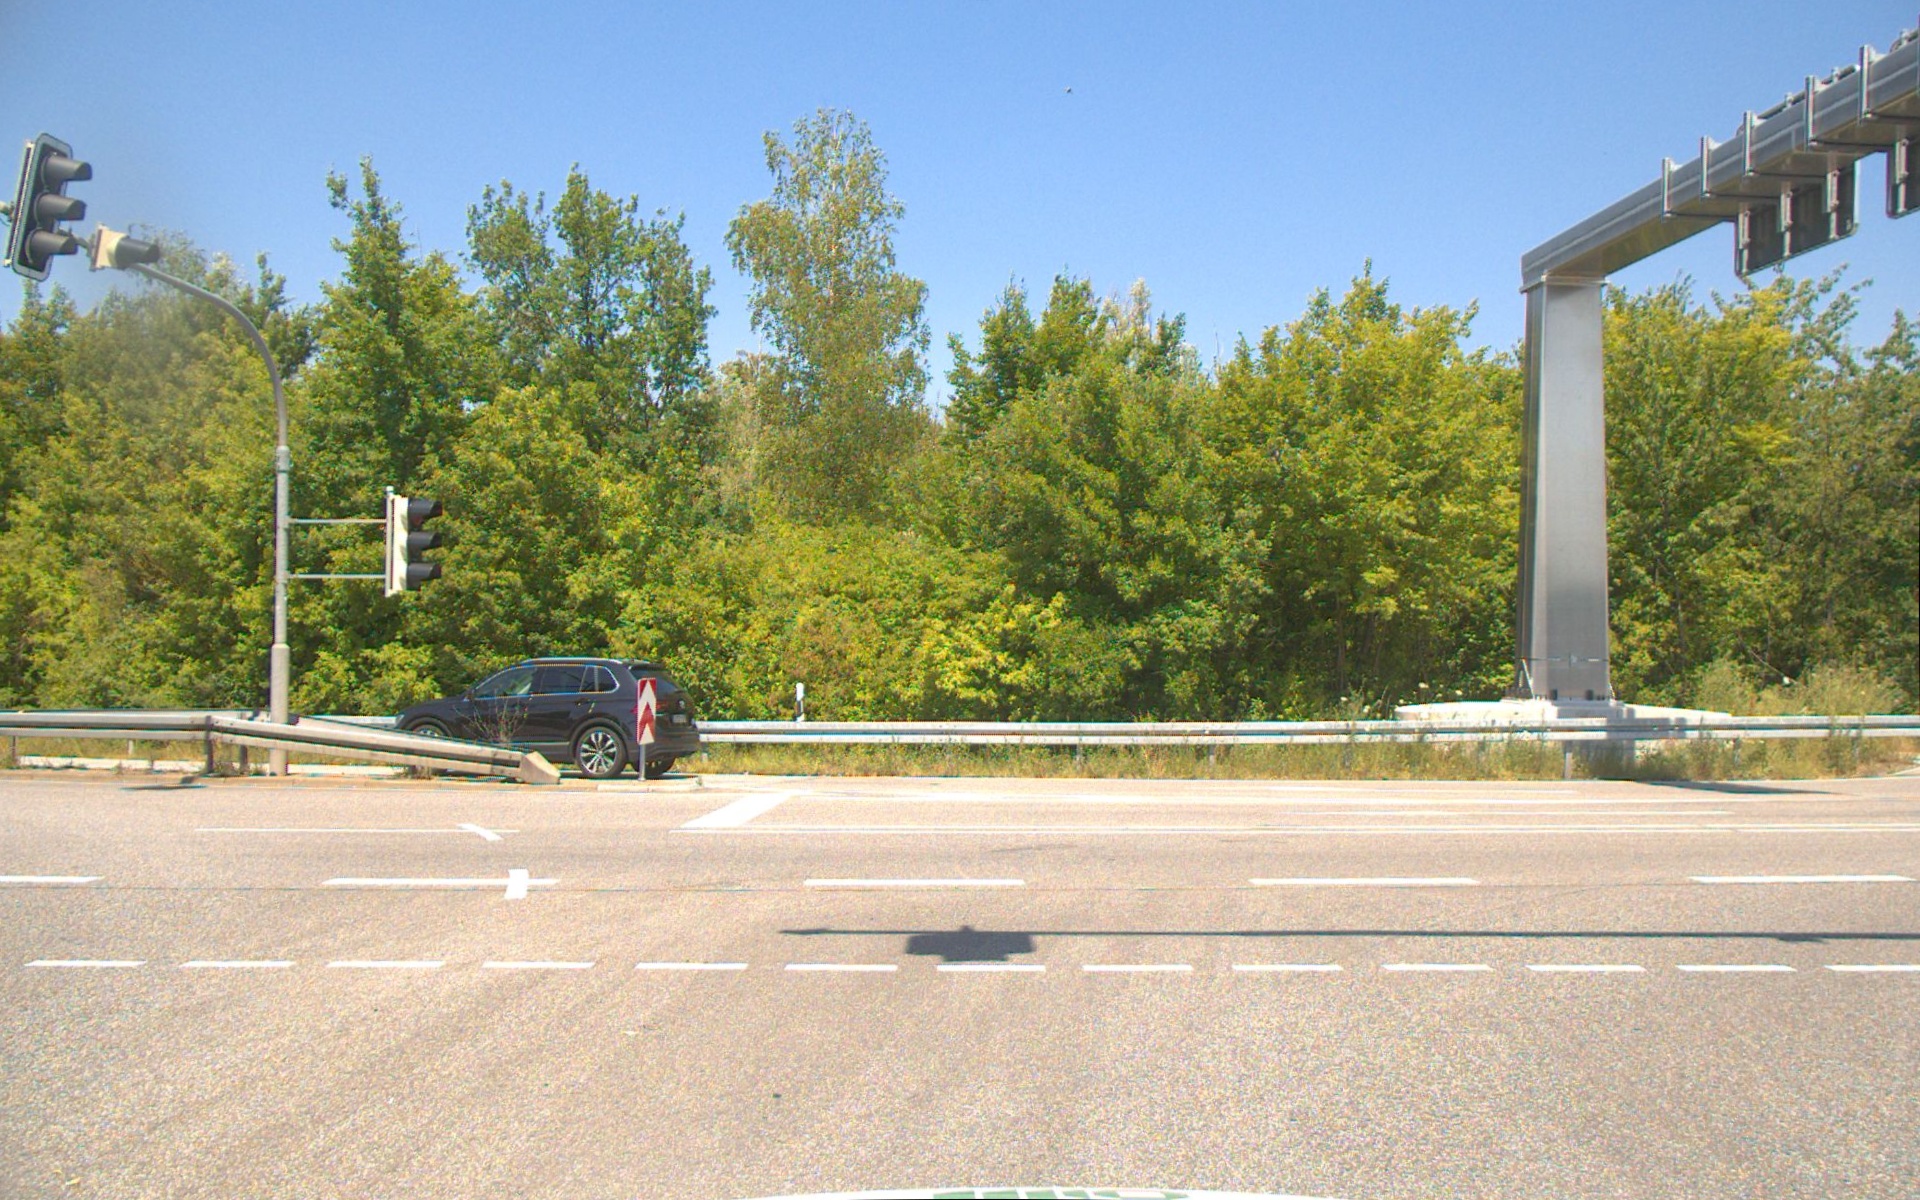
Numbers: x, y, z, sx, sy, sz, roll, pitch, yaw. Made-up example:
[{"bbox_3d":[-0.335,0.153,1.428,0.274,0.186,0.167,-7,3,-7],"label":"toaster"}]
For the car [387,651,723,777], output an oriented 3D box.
[{"bbox_3d":[-5.704,1.605,23.484,4.171,1.661,1.906,0,-4,14],"label":"car"}]
